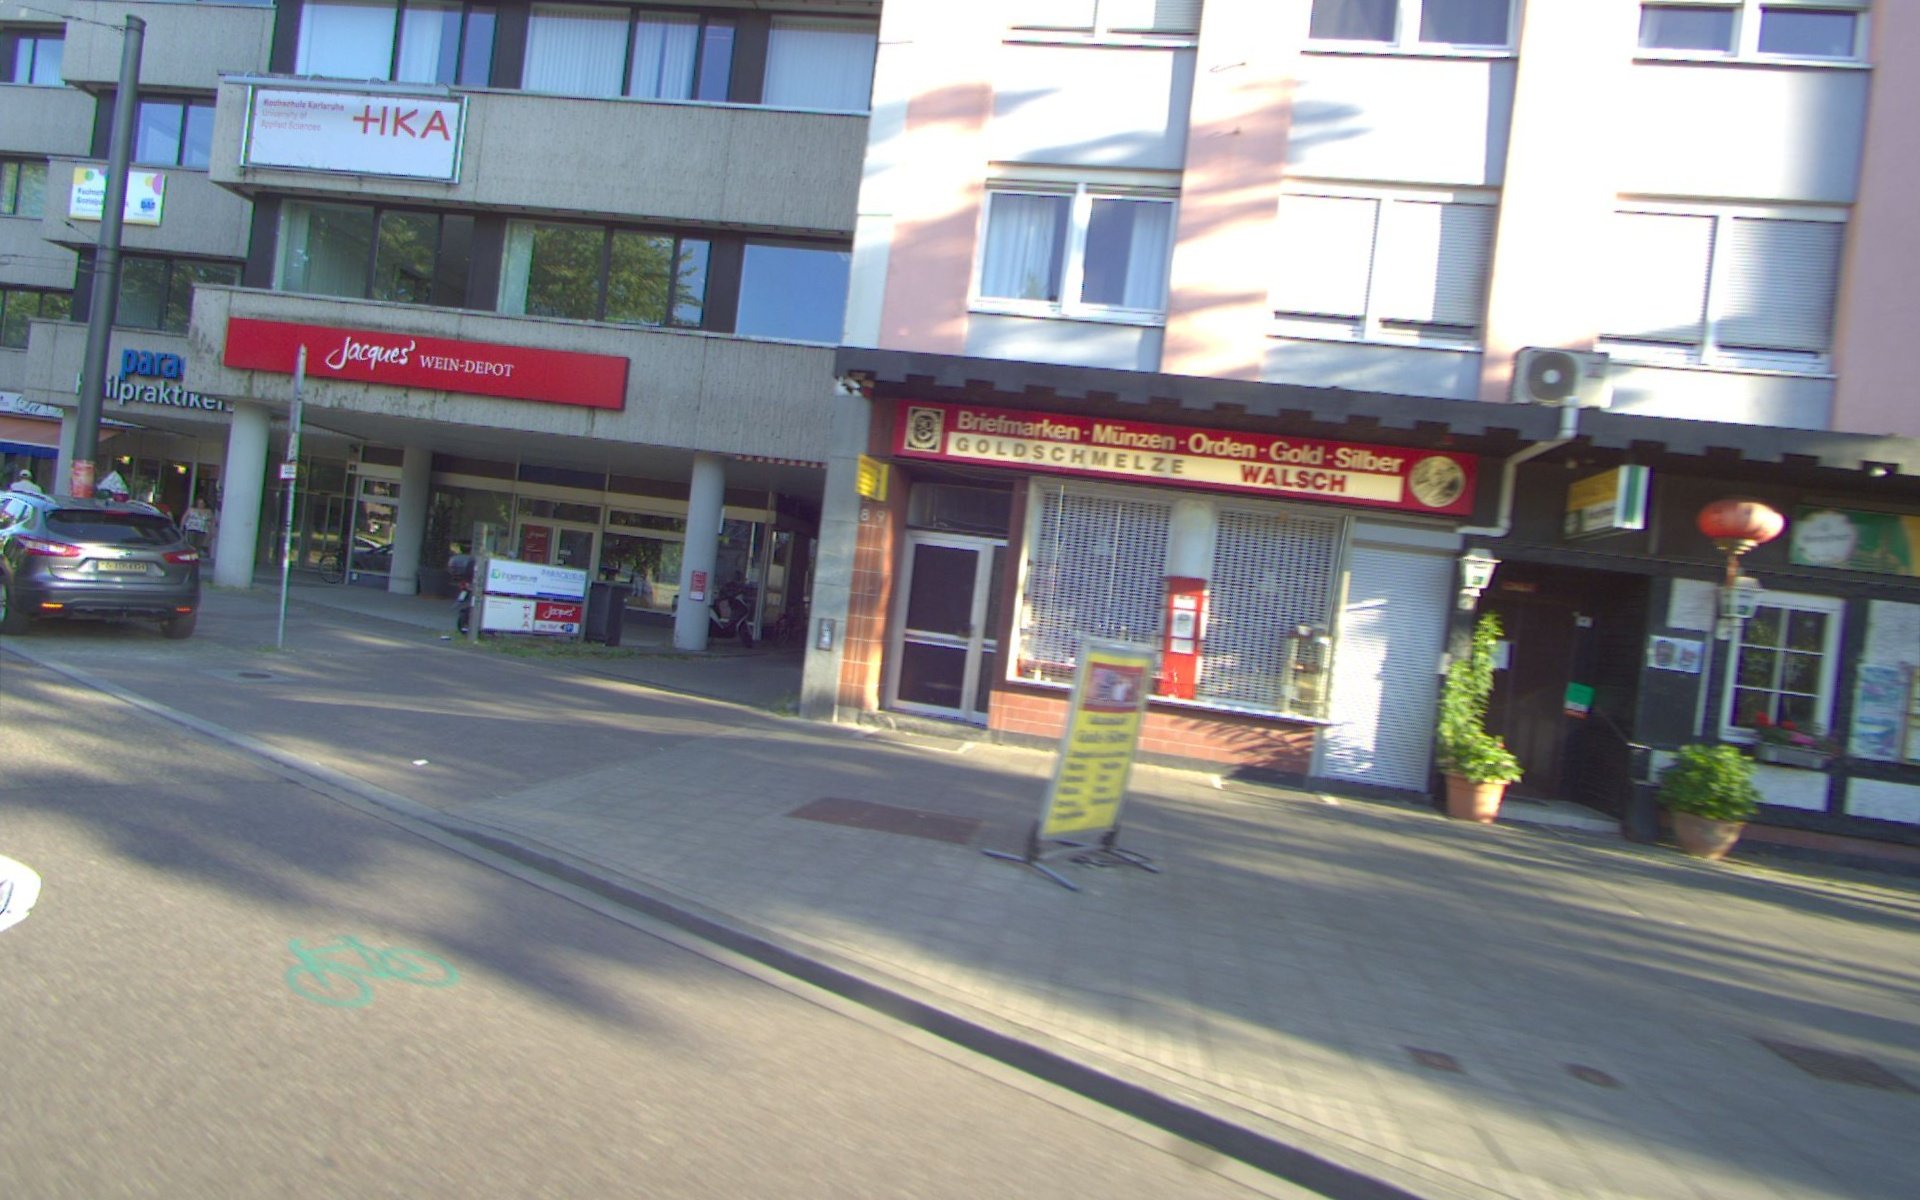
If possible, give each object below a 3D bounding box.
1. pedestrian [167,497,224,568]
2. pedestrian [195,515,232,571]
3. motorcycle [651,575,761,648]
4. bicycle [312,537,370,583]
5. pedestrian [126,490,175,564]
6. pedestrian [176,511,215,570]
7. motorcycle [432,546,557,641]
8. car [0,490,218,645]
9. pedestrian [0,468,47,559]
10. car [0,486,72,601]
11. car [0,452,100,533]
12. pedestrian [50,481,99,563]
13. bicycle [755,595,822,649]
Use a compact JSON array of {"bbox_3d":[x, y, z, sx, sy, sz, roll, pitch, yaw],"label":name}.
[{"bbox_3d":[-19.796,-1.730,26.075,0.981,1.694,0.636,6,1,-31],"label":"pedestrian"},{"bbox_3d":[-23.550,-1.790,31.748,0.511,1.669,0.599,7,-1,10],"label":"pedestrian"},{"bbox_3d":[-4.996,0.243,19.889,2.007,1.219,0.524,8,-1,-43],"label":"motorcycle"},{"bbox_3d":[-15.907,-1.011,25.901,0.475,1.086,1.756,6,1,-6],"label":"bicycle"},{"bbox_3d":[-20.465,-1.841,25.451,0.692,1.749,1.024,6,1,-31],"label":"pedestrian"},{"bbox_3d":[-24.190,-1.873,31.834,0.511,1.780,0.599,7,-1,10],"label":"pedestrian"},{"bbox_3d":[-7.247,-0.076,15.755,0.572,1.348,1.787,7,1,21],"label":"motorcycle"},{"bbox_3d":[-11.129,-0.485,12.465,4.167,1.577,1.781,7,2,34],"label":"car"},{"bbox_3d":[-20.501,-1.883,21.997,0.651,1.883,0.622,7,3,34],"label":"pedestrian"},{"bbox_3d":[-14.983,-0.966,15.027,3.551,1.577,1.607,7,2,32],"label":"car"},{"bbox_3d":[-33.310,-3.837,34.735,2.052,2.473,5.334,6,1,8],"label":"car"},{"bbox_3d":[-19.974,-1.761,22.692,0.651,1.763,0.622,7,3,34],"label":"pedestrian"},{"bbox_3d":[-3.718,0.488,21.985,0.475,1.088,1.869,7,1,20],"label":"bicycle"}]
